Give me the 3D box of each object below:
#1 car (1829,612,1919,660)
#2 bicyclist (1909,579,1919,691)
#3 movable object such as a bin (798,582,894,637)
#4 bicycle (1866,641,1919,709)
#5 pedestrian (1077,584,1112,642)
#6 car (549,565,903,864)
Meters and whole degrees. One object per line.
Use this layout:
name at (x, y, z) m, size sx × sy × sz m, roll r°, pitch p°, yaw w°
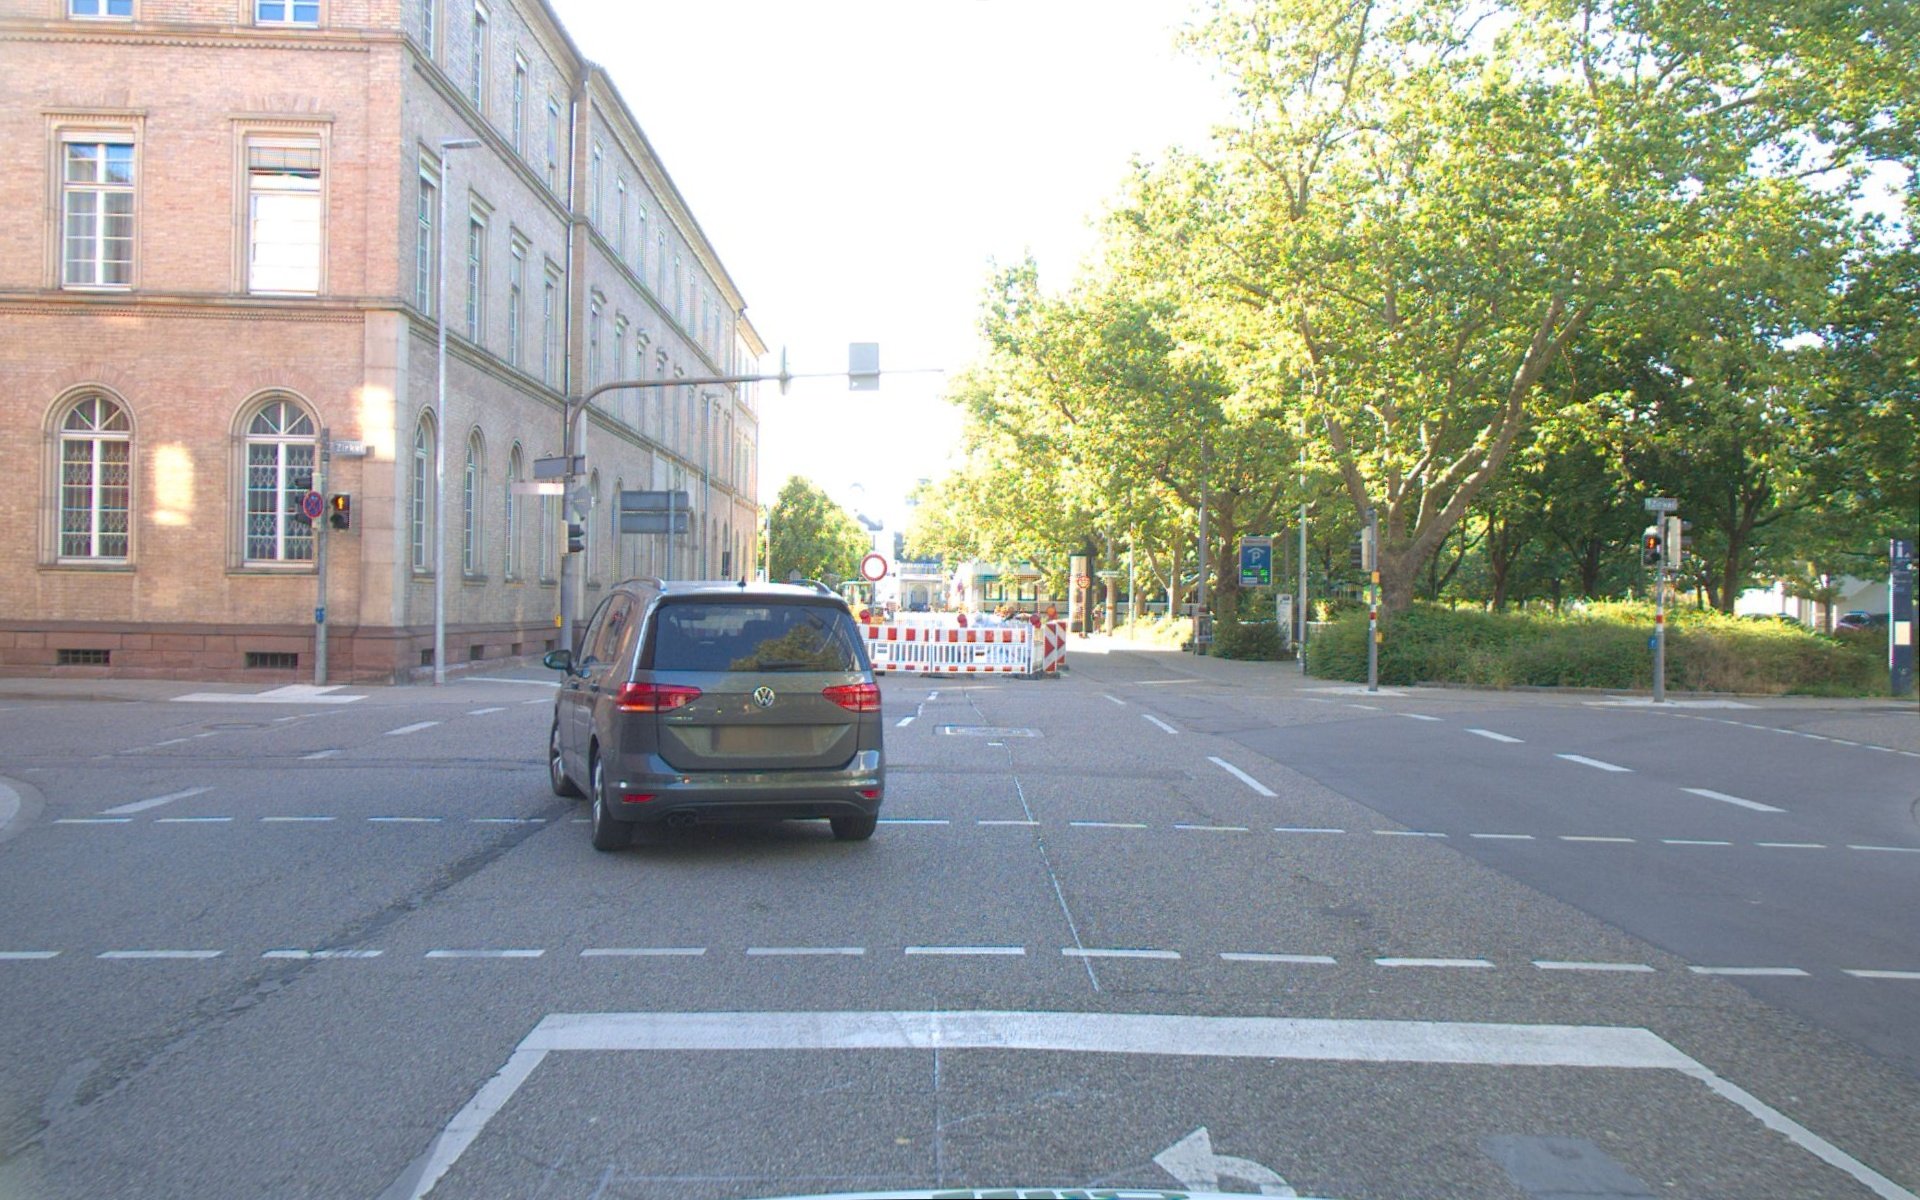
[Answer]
car at (35.712, 1.382, 64.417) m, size 1.951 × 1.810 × 4.002 m, roll 1°, pitch -1°, yaw 6°
bicyclist at (16.243, 0.577, 26.838) m, size 1.106 × 1.839 × 0.977 m, roll 1°, pitch -1°, yaw -4°
movable object such as a bin at (-6.038, 0.493, 87.493) m, size 4.754 × 2.825 × 2.460 m, roll 0°, pitch -1°, yaw 41°
bicycle at (16.396, 1.224, 26.861) m, size 2.937 × 1.056 × 0.941 m, roll 1°, pitch -1°, yaw -5°
pedestrian at (6.380, 0.602, 78.782) m, size 1.393 × 2.714 × 1.145 m, roll 1°, pitch -1°, yaw -10°
car at (-1.757, 0.632, 11.213) m, size 1.734 × 1.635 × 3.980 m, roll 1°, pitch 0°, yaw -18°
